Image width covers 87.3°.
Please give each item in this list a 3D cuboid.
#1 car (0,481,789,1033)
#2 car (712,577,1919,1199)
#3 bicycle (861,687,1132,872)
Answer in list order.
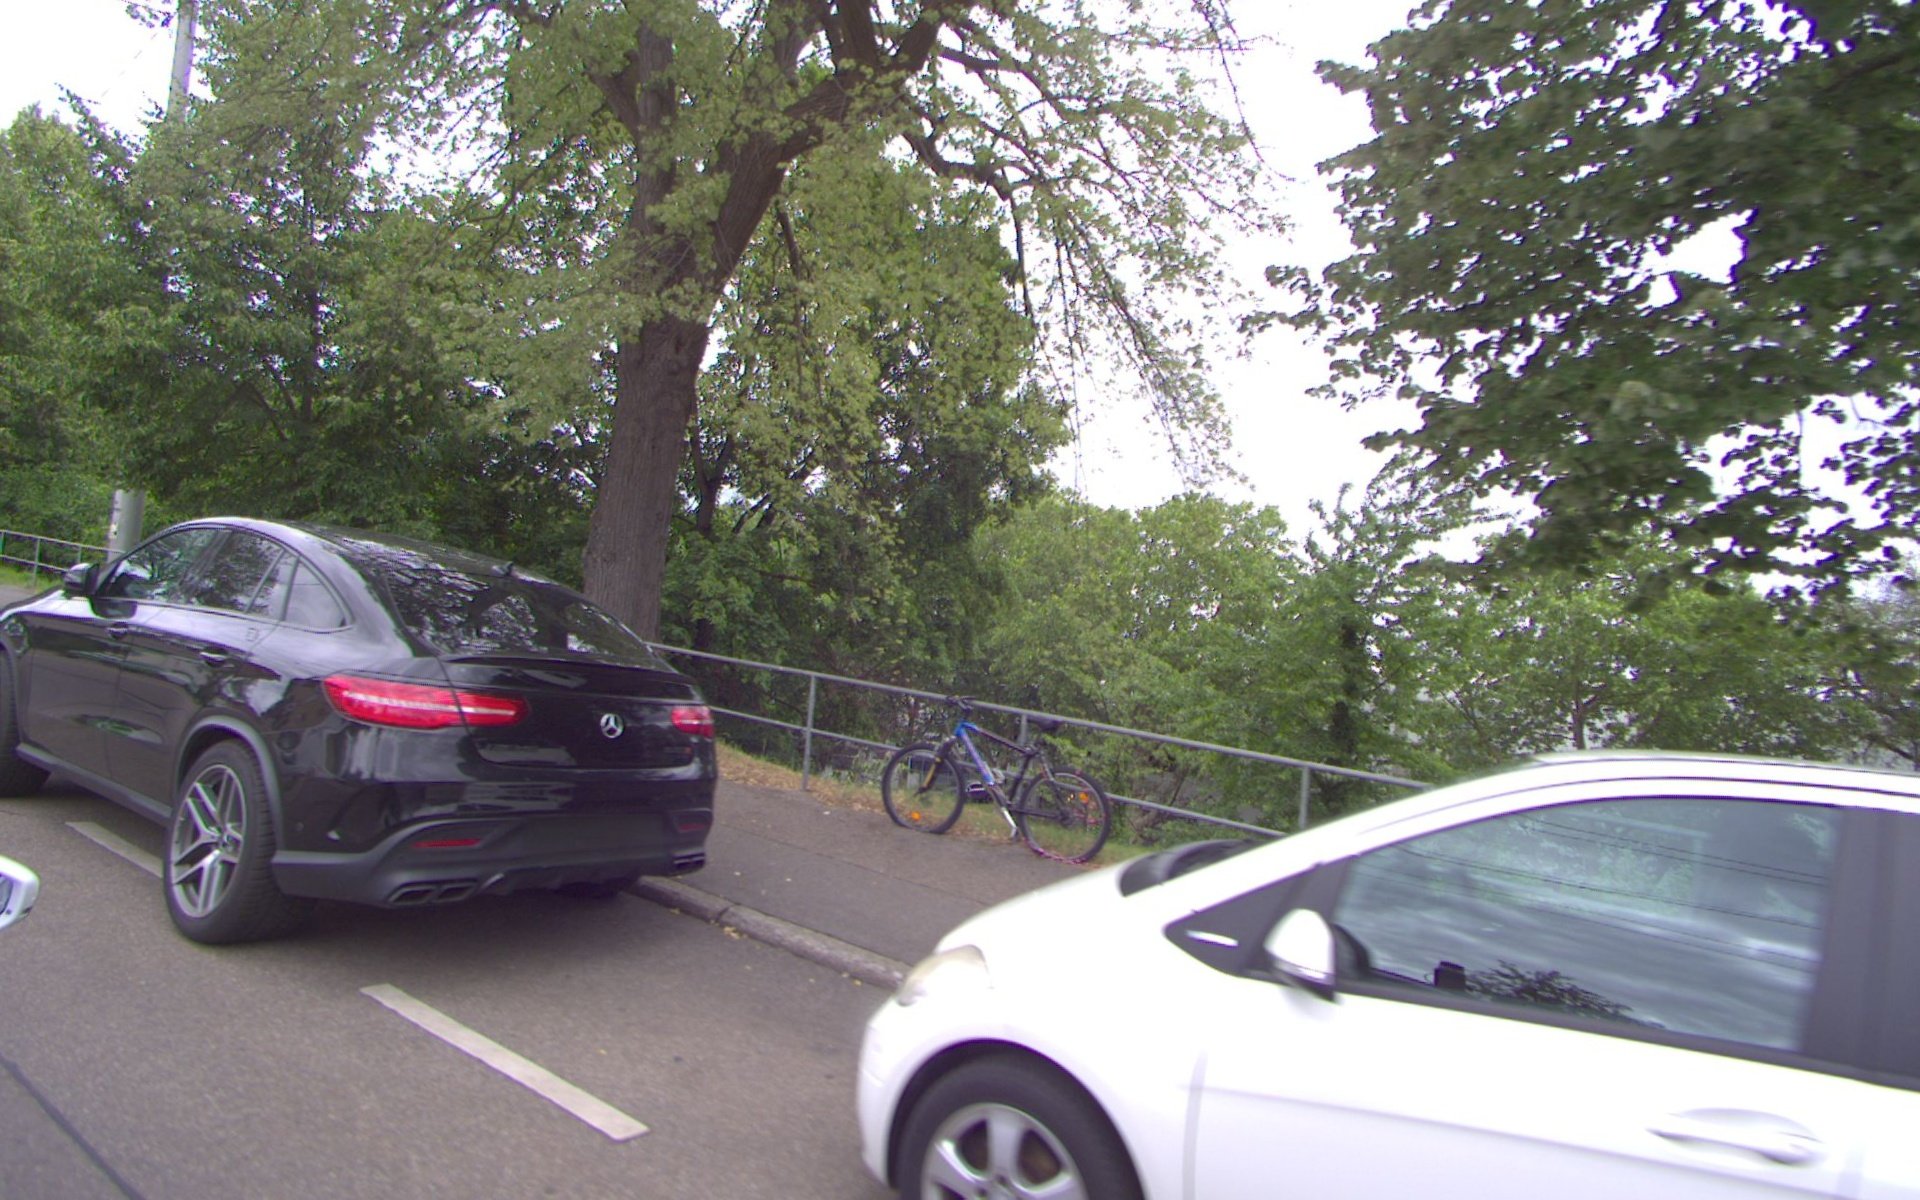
[{"bbox_3d":[-3.518,0.459,5.405,4.980,1.695,1.882,6,-4,32],"label":"car"},{"bbox_3d":[1.597,1.077,2.468,4.019,1.647,1.733,6,-5,31],"label":"car"},{"bbox_3d":[0.241,1.210,7.054,1.762,0.987,0.429,6,-2,22],"label":"bicycle"}]
